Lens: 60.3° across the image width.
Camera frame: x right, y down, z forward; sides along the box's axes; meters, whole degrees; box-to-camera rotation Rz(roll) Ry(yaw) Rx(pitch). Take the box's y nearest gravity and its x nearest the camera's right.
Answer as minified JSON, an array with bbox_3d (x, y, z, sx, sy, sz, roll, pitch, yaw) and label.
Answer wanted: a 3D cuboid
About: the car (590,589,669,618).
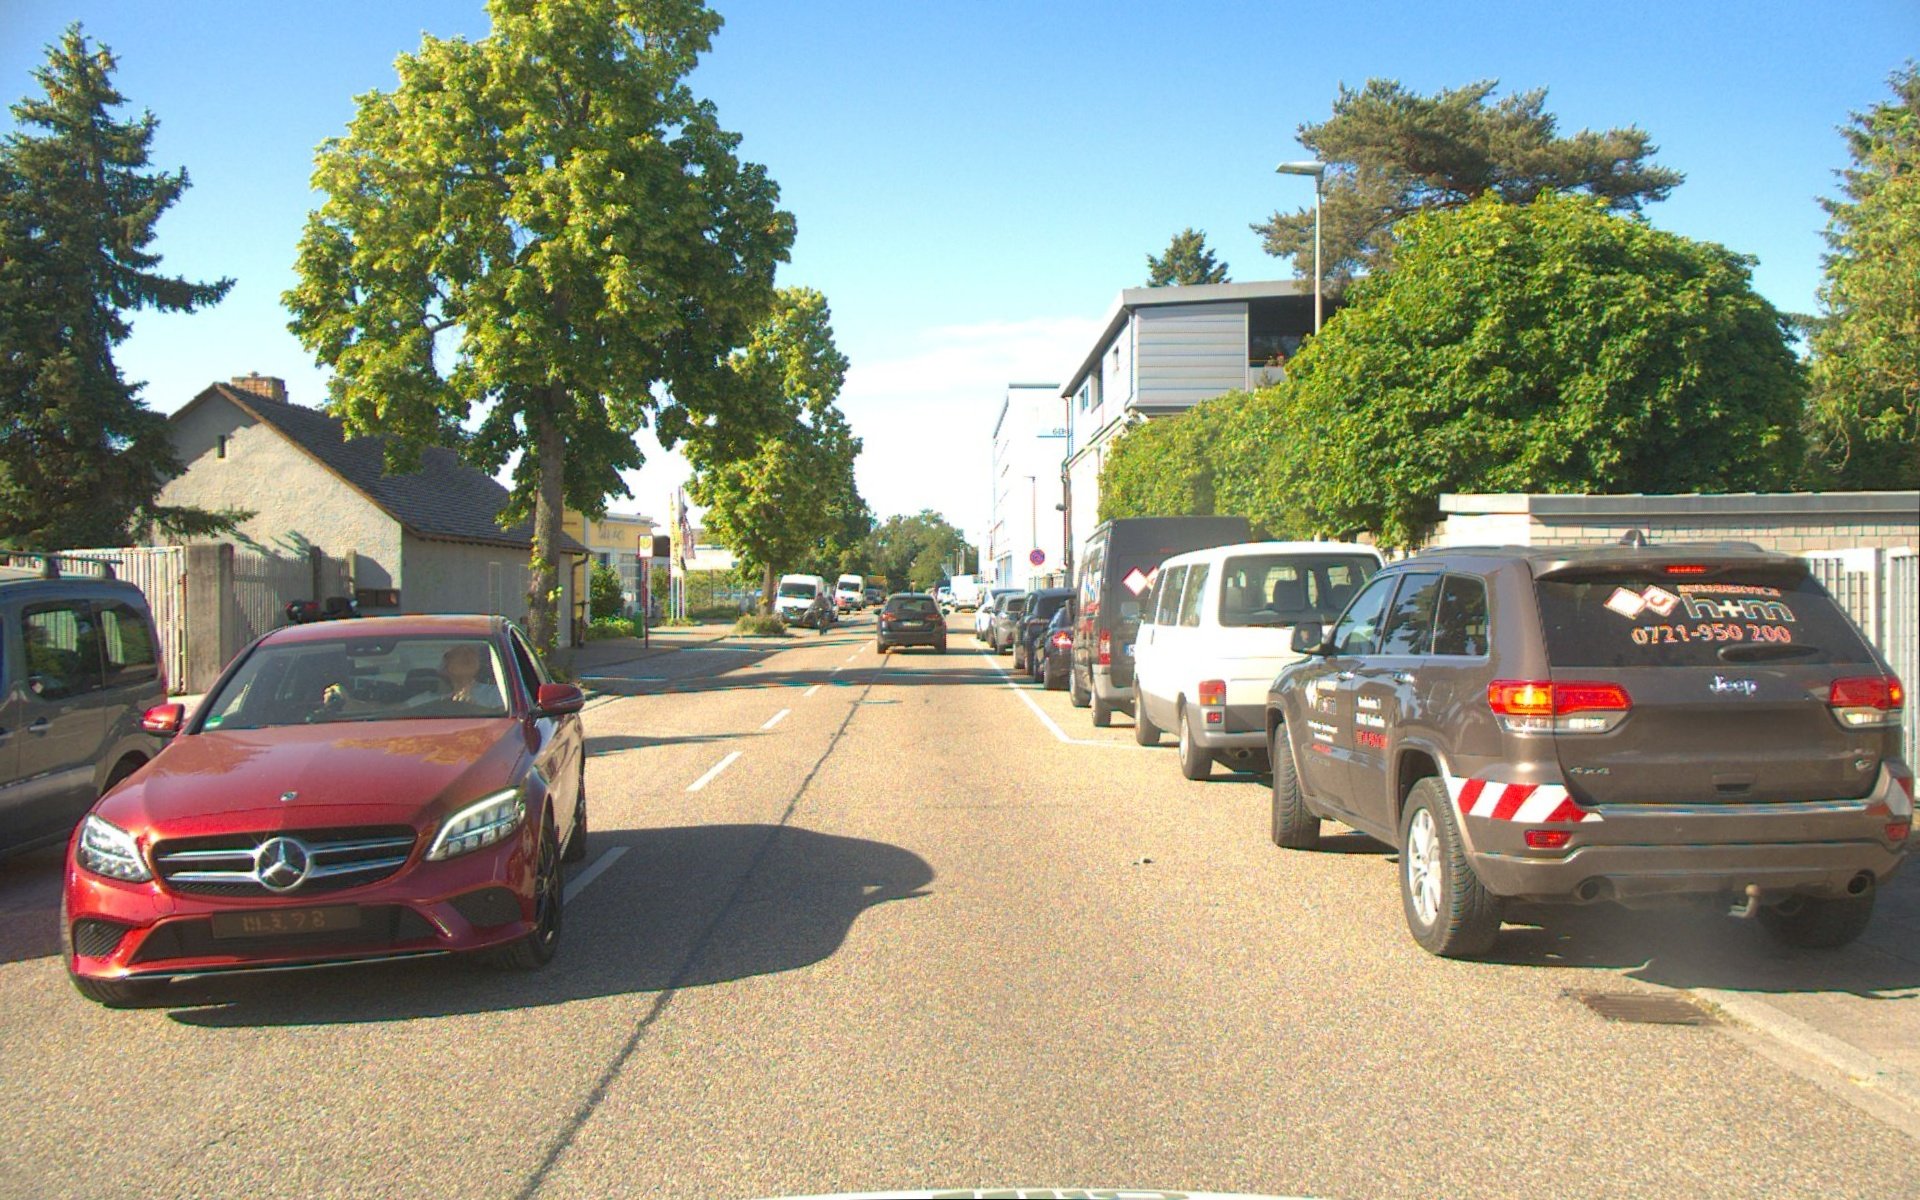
[{"bbox_3d":[-19.152,0.206,95.867,4.069,1.601,1.918,-1,0,9],"label":"car"}]

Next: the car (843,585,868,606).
[{"bbox_3d":[-9.041,-0.397,143.095,1.990,1.723,5.104,3,0,-3],"label":"car"}]

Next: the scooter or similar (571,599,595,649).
[{"bbox_3d":[-10.081,0.637,44.231,0.474,1.293,1.570,0,0,-18],"label":"scooter or similar"}]

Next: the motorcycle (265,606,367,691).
[{"bbox_3d":[-10.325,0.750,26.630,0.685,1.255,2.538,2,0,-2],"label":"motorcycle"}]

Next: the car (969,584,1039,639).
[{"bbox_3d":[1.396,0.349,54.091,1.893,1.673,4.767,-1,0,-3],"label":"car"}]

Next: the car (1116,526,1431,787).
[{"bbox_3d":[2.643,0.411,15.142,1.853,1.959,4.920,-1,0,-1],"label":"car"}]

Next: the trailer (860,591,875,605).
[{"bbox_3d":[-9.185,-0.234,164.323,1.447,1.378,3.077,1,0,-2],"label":"trailer"}]

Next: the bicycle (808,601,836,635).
[{"bbox_3d":[-5.416,0.699,65.050,0.822,1.261,2.604,1,0,2],"label":"bicycle"}]

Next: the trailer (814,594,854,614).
[{"bbox_3d":[-8.454,0.228,111.215,2.328,1.098,6.244,3,1,-2],"label":"trailer"}]

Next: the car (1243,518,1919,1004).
[{"bbox_3d":[2.849,0.608,8.572,1.765,1.774,4.910,1,0,-2],"label":"car"}]

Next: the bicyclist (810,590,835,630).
[{"bbox_3d":[-5.414,0.398,65.049,0.822,1.569,1.137,1,0,1],"label":"bicyclist"}]

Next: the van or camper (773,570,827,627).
[{"bbox_3d":[-7.788,-0.109,81.077,2.029,2.593,6.402,3,1,-2],"label":"van or camper"}]

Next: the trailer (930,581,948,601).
[{"bbox_3d":[-2.951,-1.303,231.064,2.410,2.719,5.699,-1,0,-2],"label":"trailer"}]

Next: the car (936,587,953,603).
[{"bbox_3d":[-1.859,-0.595,194.624,1.848,1.829,5.101,1,0,-2],"label":"car"}]

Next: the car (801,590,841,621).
[{"bbox_3d":[-7.691,0.289,91.915,1.763,1.536,5.001,3,0,-1],"label":"car"}]

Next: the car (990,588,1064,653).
[{"bbox_3d":[1.661,0.480,41.893,1.625,1.531,4.031,-1,0,-1],"label":"car"}]

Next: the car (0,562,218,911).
[{"bbox_3d":[-6.022,0.712,9.004,1.739,1.881,4.616,1,0,2],"label":"car"}]

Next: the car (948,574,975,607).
[{"bbox_3d":[0.095,-0.821,138.957,1.954,2.643,6.048,-2,1,-3],"label":"car"}]

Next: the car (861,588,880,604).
[{"bbox_3d":[-9.872,-0.445,182.712,1.755,1.761,4.802,-1,0,0],"label":"car"}]

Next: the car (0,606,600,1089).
[{"bbox_3d":[-2.710,0.811,7.745,1.837,1.445,4.518,-3,1,-11],"label":"car"}]

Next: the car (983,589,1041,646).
[{"bbox_3d":[1.512,0.469,47.509,1.566,1.498,4.191,-1,0,2],"label":"car"}]

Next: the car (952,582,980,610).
[{"bbox_3d":[0.393,-0.276,112.923,1.850,1.864,5.090,0,0,0],"label":"car"}]

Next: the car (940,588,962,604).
[{"bbox_3d":[-0.824,-0.345,150.297,1.856,1.430,5.122,1,0,-2],"label":"car"}]

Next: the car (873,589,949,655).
[{"bbox_3d":[-1.227,0.524,42.126,1.809,1.556,3.999,-1,0,-1],"label":"car"}]

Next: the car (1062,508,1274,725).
[{"bbox_3d":[2.397,0.155,20.368,1.853,2.299,5.145,-1,0,-1],"label":"car"}]

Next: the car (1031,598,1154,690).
[{"bbox_3d":[2.107,0.666,27.267,1.621,1.341,4.103,-1,0,-1],"label":"car"}]

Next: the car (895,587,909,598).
[{"bbox_3d":[-7.779,-0.993,222.259,1.712,1.473,4.359,-1,0,-2],"label":"car"}]

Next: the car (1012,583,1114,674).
[{"bbox_3d":[1.957,0.508,32.340,1.647,1.642,4.204,1,0,-1],"label":"car"}]

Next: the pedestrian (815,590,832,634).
[{"bbox_3d":[-5.400,0.461,65.319,0.582,1.728,0.639,1,-1,-1],"label":"pedestrian"}]

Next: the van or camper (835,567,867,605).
[{"bbox_3d":[-8.549,-1.112,129.975,1.926,2.731,5.948,4,0,0],"label":"van or camper"}]

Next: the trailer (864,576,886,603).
[{"bbox_3d":[-11.492,-1.380,223.344,2.931,3.503,8.157,-1,0,-3],"label":"trailer"}]
